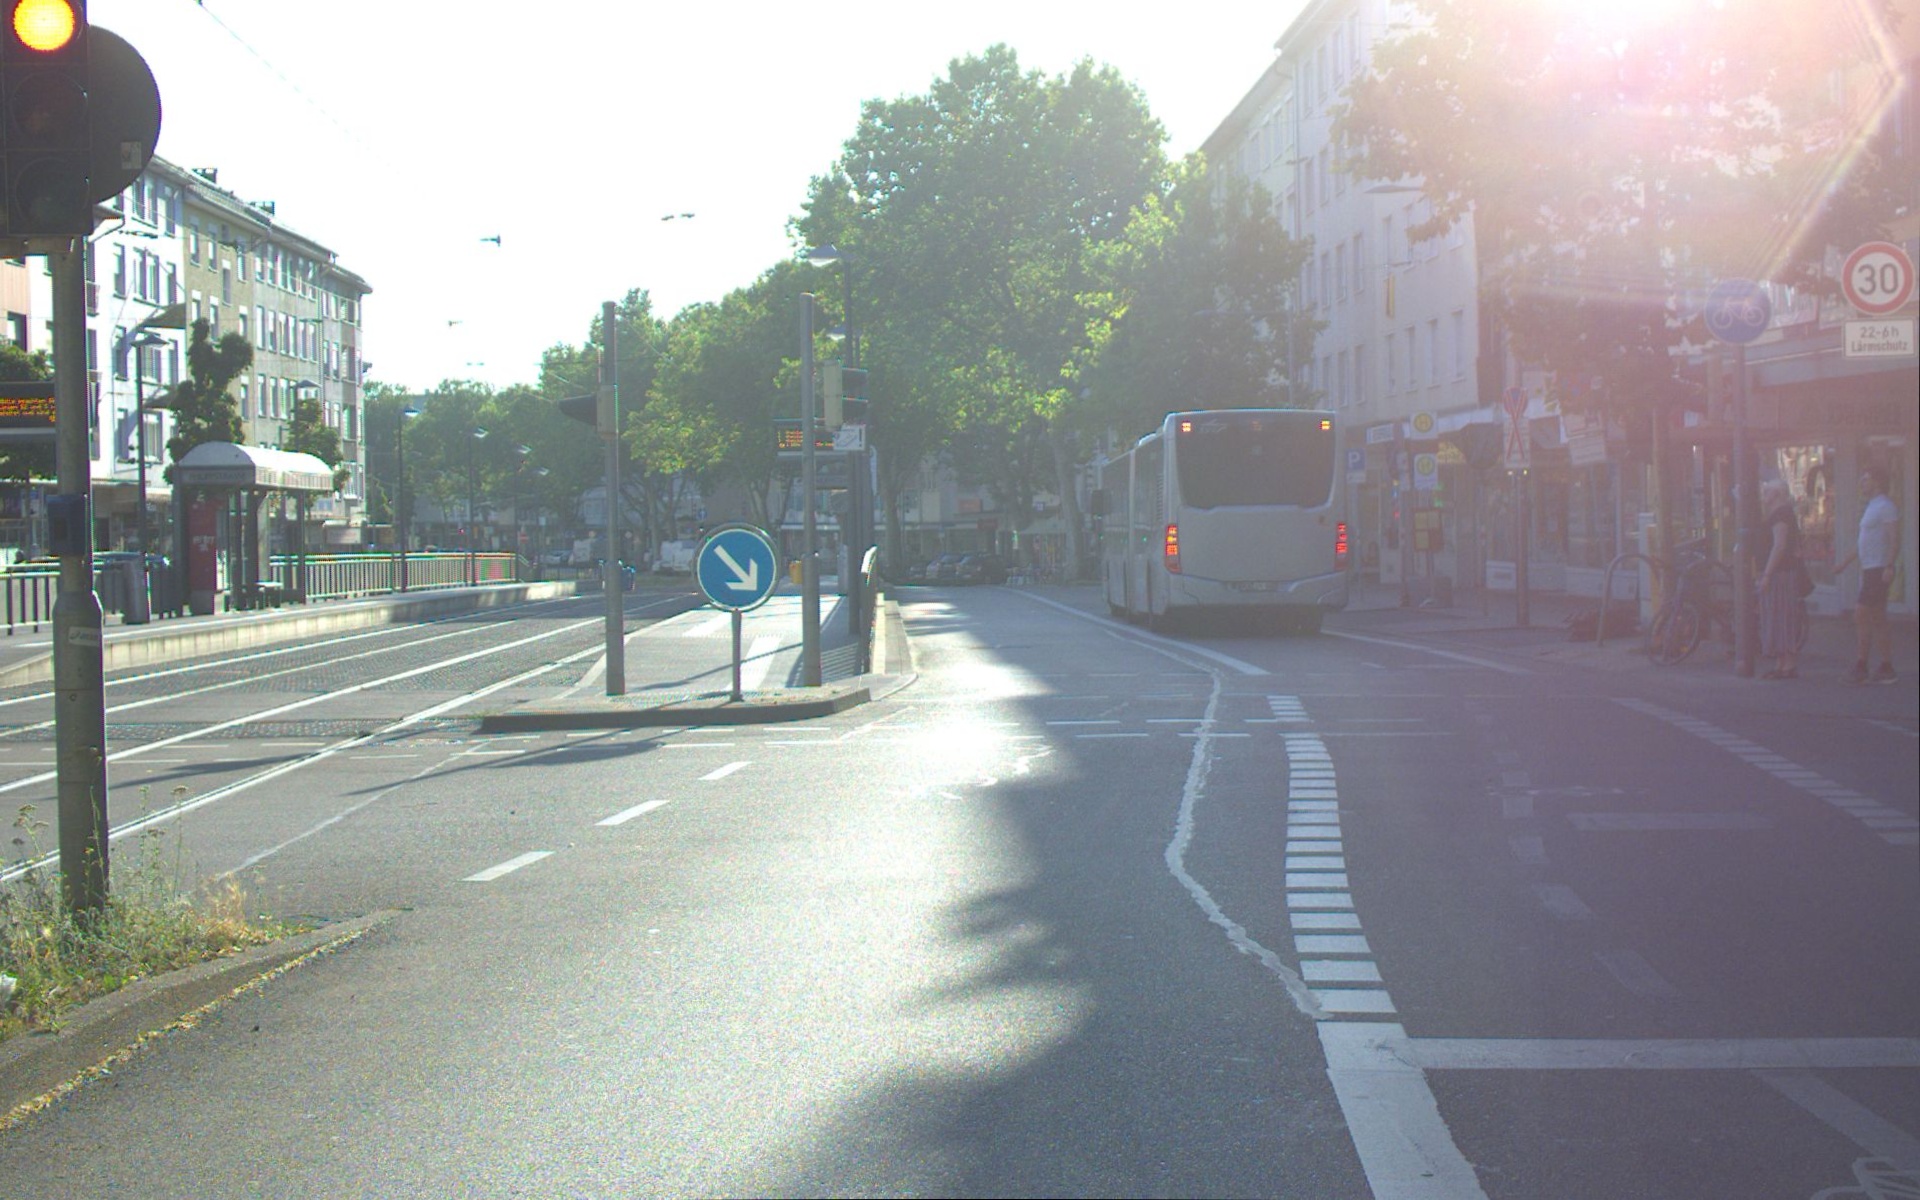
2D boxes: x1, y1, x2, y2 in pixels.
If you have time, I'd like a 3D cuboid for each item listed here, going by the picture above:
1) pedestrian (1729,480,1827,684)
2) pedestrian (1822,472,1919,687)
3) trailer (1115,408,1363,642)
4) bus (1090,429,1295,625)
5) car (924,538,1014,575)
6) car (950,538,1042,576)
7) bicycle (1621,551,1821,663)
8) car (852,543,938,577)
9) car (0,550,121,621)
[{"bbox_3d":[7.185,-0.167,30.217,0.680,1.764,0.687,-1,1,0],"label":"pedestrian"},{"bbox_3d":[7.598,-0.176,28.574,0.680,1.764,0.687,-1,1,0],"label":"pedestrian"},{"bbox_3d":[3.977,-1.102,50.958,2.812,3.099,8.795,1,1,0],"label":"trailer"},{"bbox_3d":[3.913,-1.264,59.890,2.812,3.091,9.095,1,1,0],"label":"bus"},{"bbox_3d":[0.413,-2.073,164.277,3.889,1.693,1.833,-2,2,-29],"label":"car"},{"bbox_3d":[1.697,-2.015,161.298,3.889,1.693,1.833,-2,2,-29],"label":"car"},{"bbox_3d":[7.466,0.064,33.774,1.772,1.018,0.694,-2,1,-1],"label":"bicycle"},{"bbox_3d":[-3.202,-1.966,168.890,3.889,1.591,1.691,-2,2,-29],"label":"car"},{"bbox_3d":[-24.798,-0.404,92.412,3.986,1.809,2.000,-1,1,-27],"label":"car"}]
